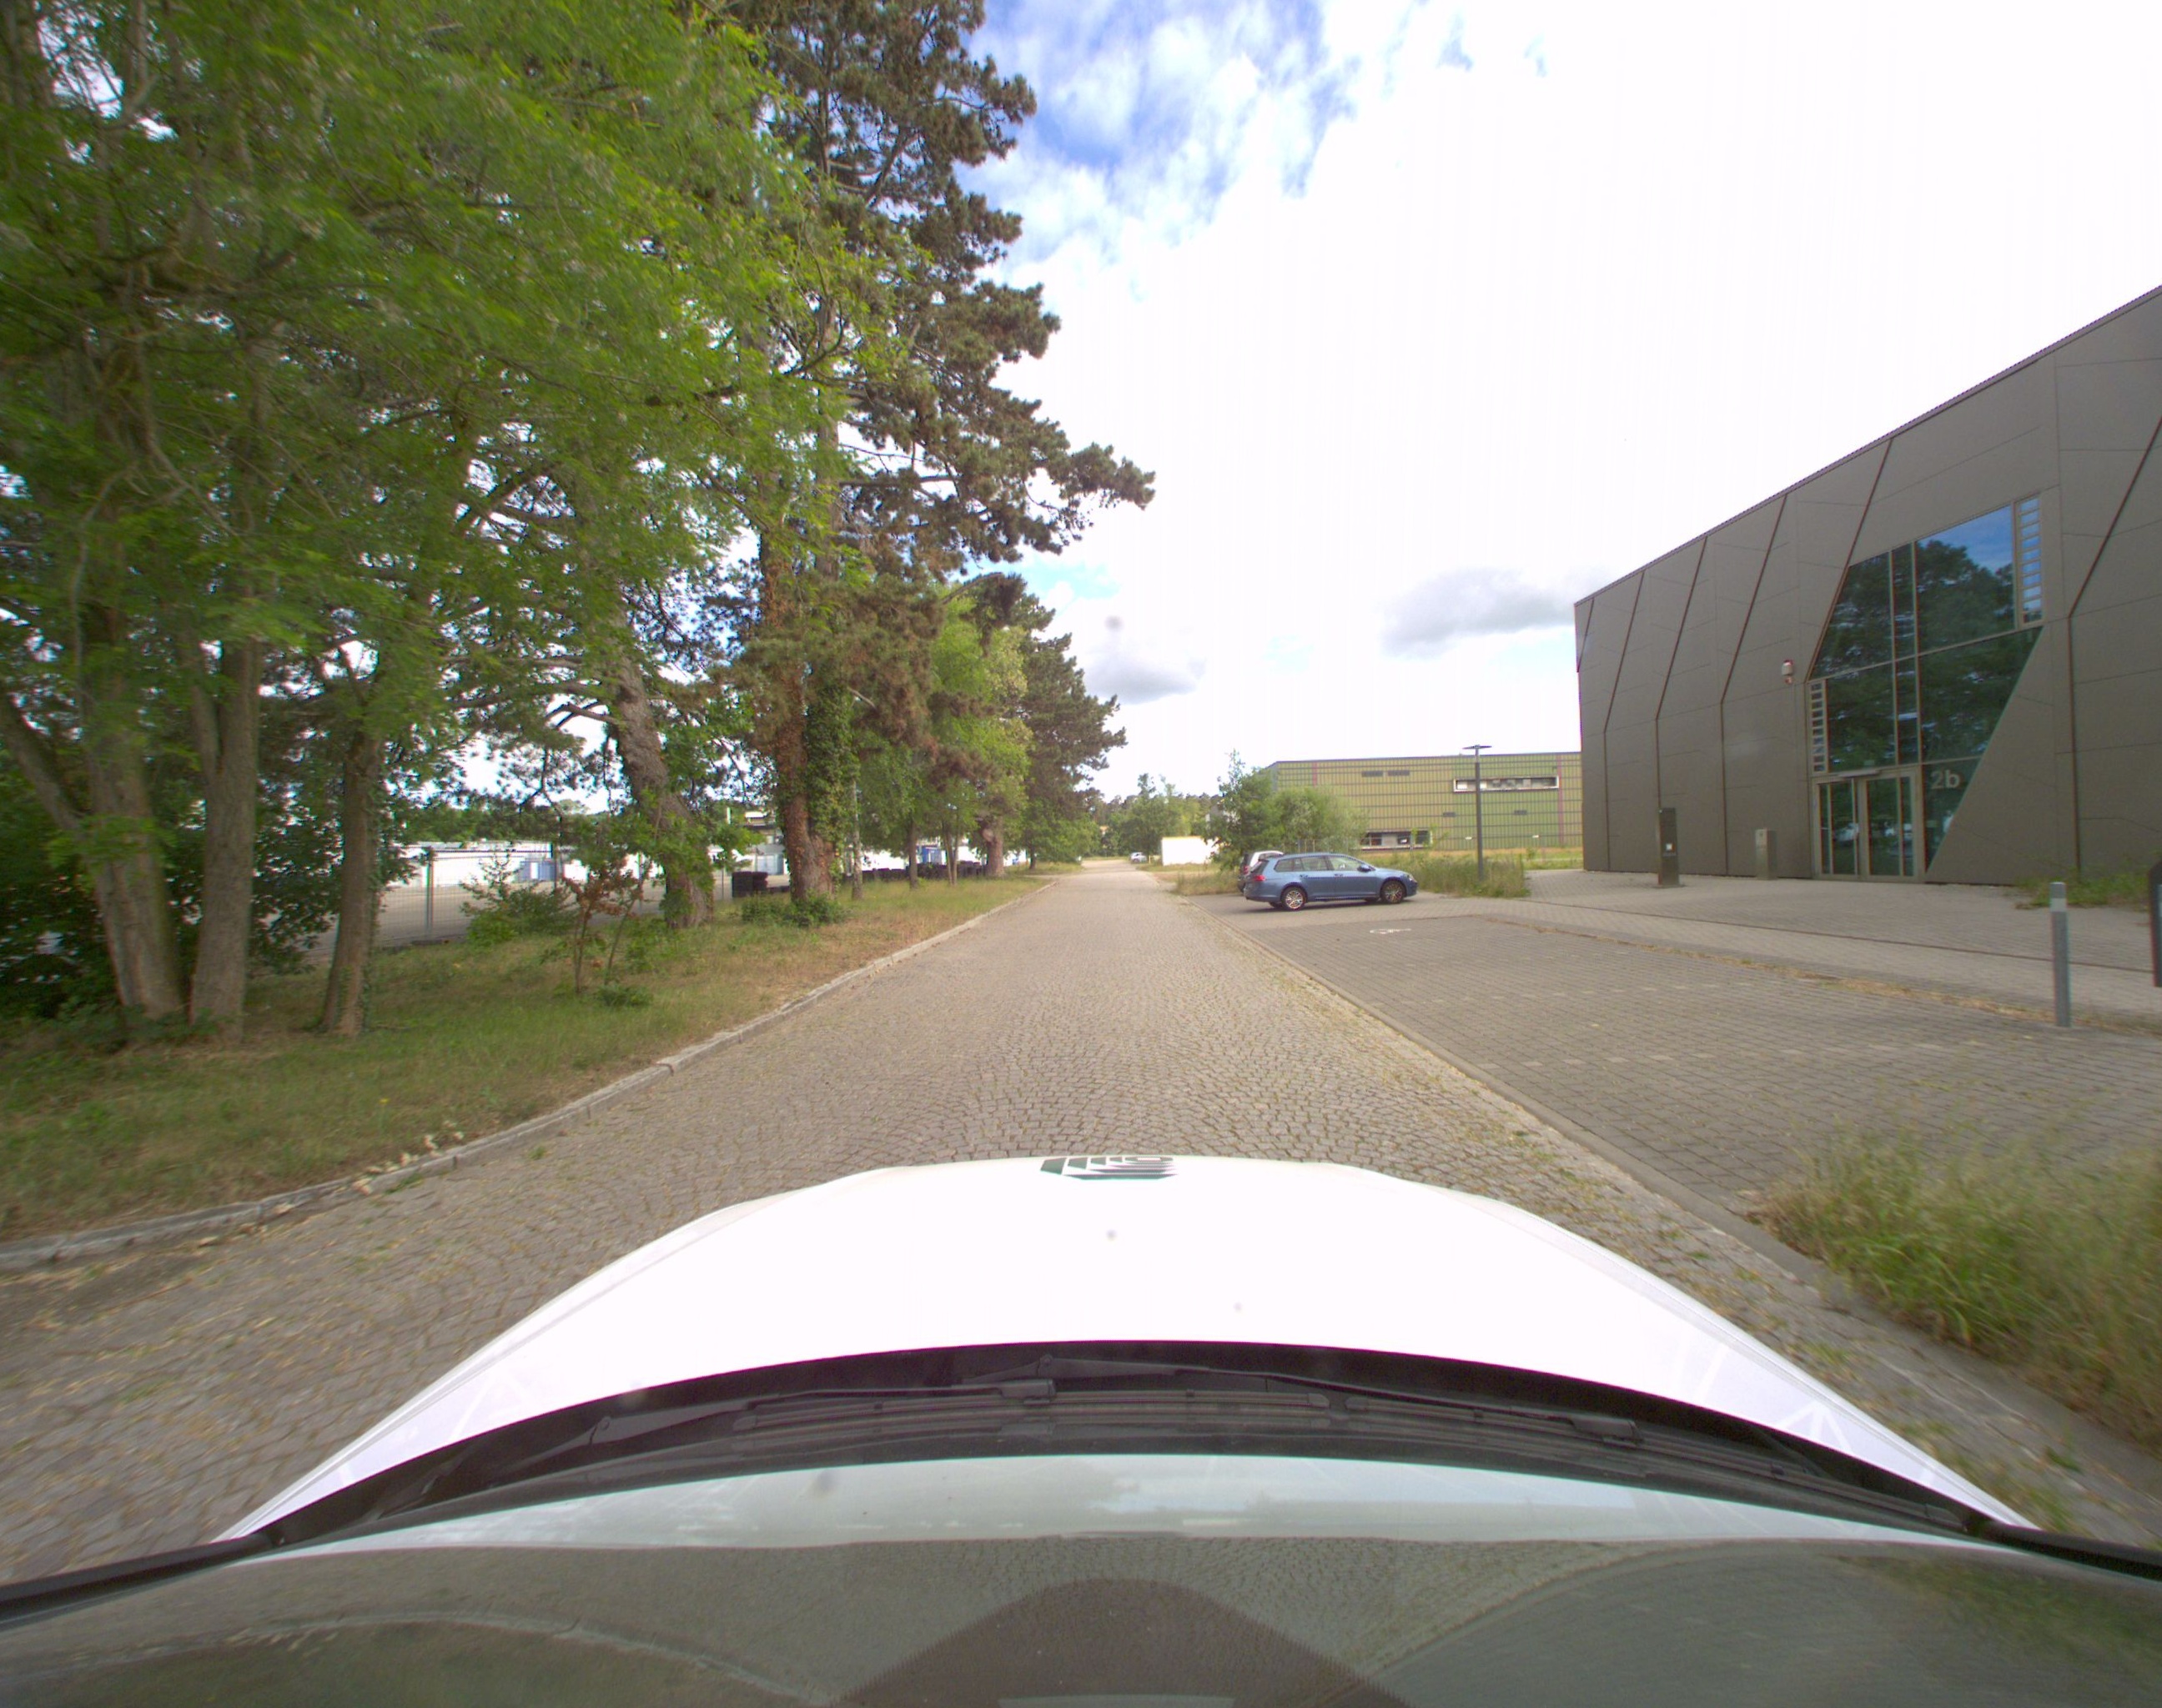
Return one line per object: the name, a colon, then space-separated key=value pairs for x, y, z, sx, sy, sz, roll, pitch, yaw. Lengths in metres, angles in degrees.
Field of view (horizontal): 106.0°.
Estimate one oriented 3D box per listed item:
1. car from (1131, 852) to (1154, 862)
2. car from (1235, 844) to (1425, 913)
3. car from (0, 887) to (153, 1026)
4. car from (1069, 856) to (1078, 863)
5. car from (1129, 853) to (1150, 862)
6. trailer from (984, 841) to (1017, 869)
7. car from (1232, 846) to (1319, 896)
car: x=10.682 y=0.466 z=141.794 sx=3.969 sy=1.448 sz=1.654 roll=-4 pitch=0 yaw=2
car: x=6.613 y=0.633 z=21.950 sx=4.477 sy=1.475 sz=1.830 roll=-4 pitch=0 yaw=-1
car: x=-12.351 y=1.137 z=7.802 sx=1.819 sy=1.416 sz=4.420 roll=-2 pitch=0 yaw=0
car: x=-1.459 y=1.019 z=161.014 sx=1.641 sy=1.369 sz=4.000 roll=-2 pitch=0 yaw=2
car: x=10.042 y=0.588 z=139.115 sx=3.508 sy=1.362 sz=1.623 roll=-4 pitch=0 yaw=2
trailer: x=-10.736 y=0.107 z=109.515 sx=2.613 sy=3.598 sz=10.189 roll=-2 pitch=0 yaw=4
car: x=6.961 y=0.600 z=29.376 sx=2.699 sy=1.556 sz=1.655 roll=-4 pitch=0 yaw=3
